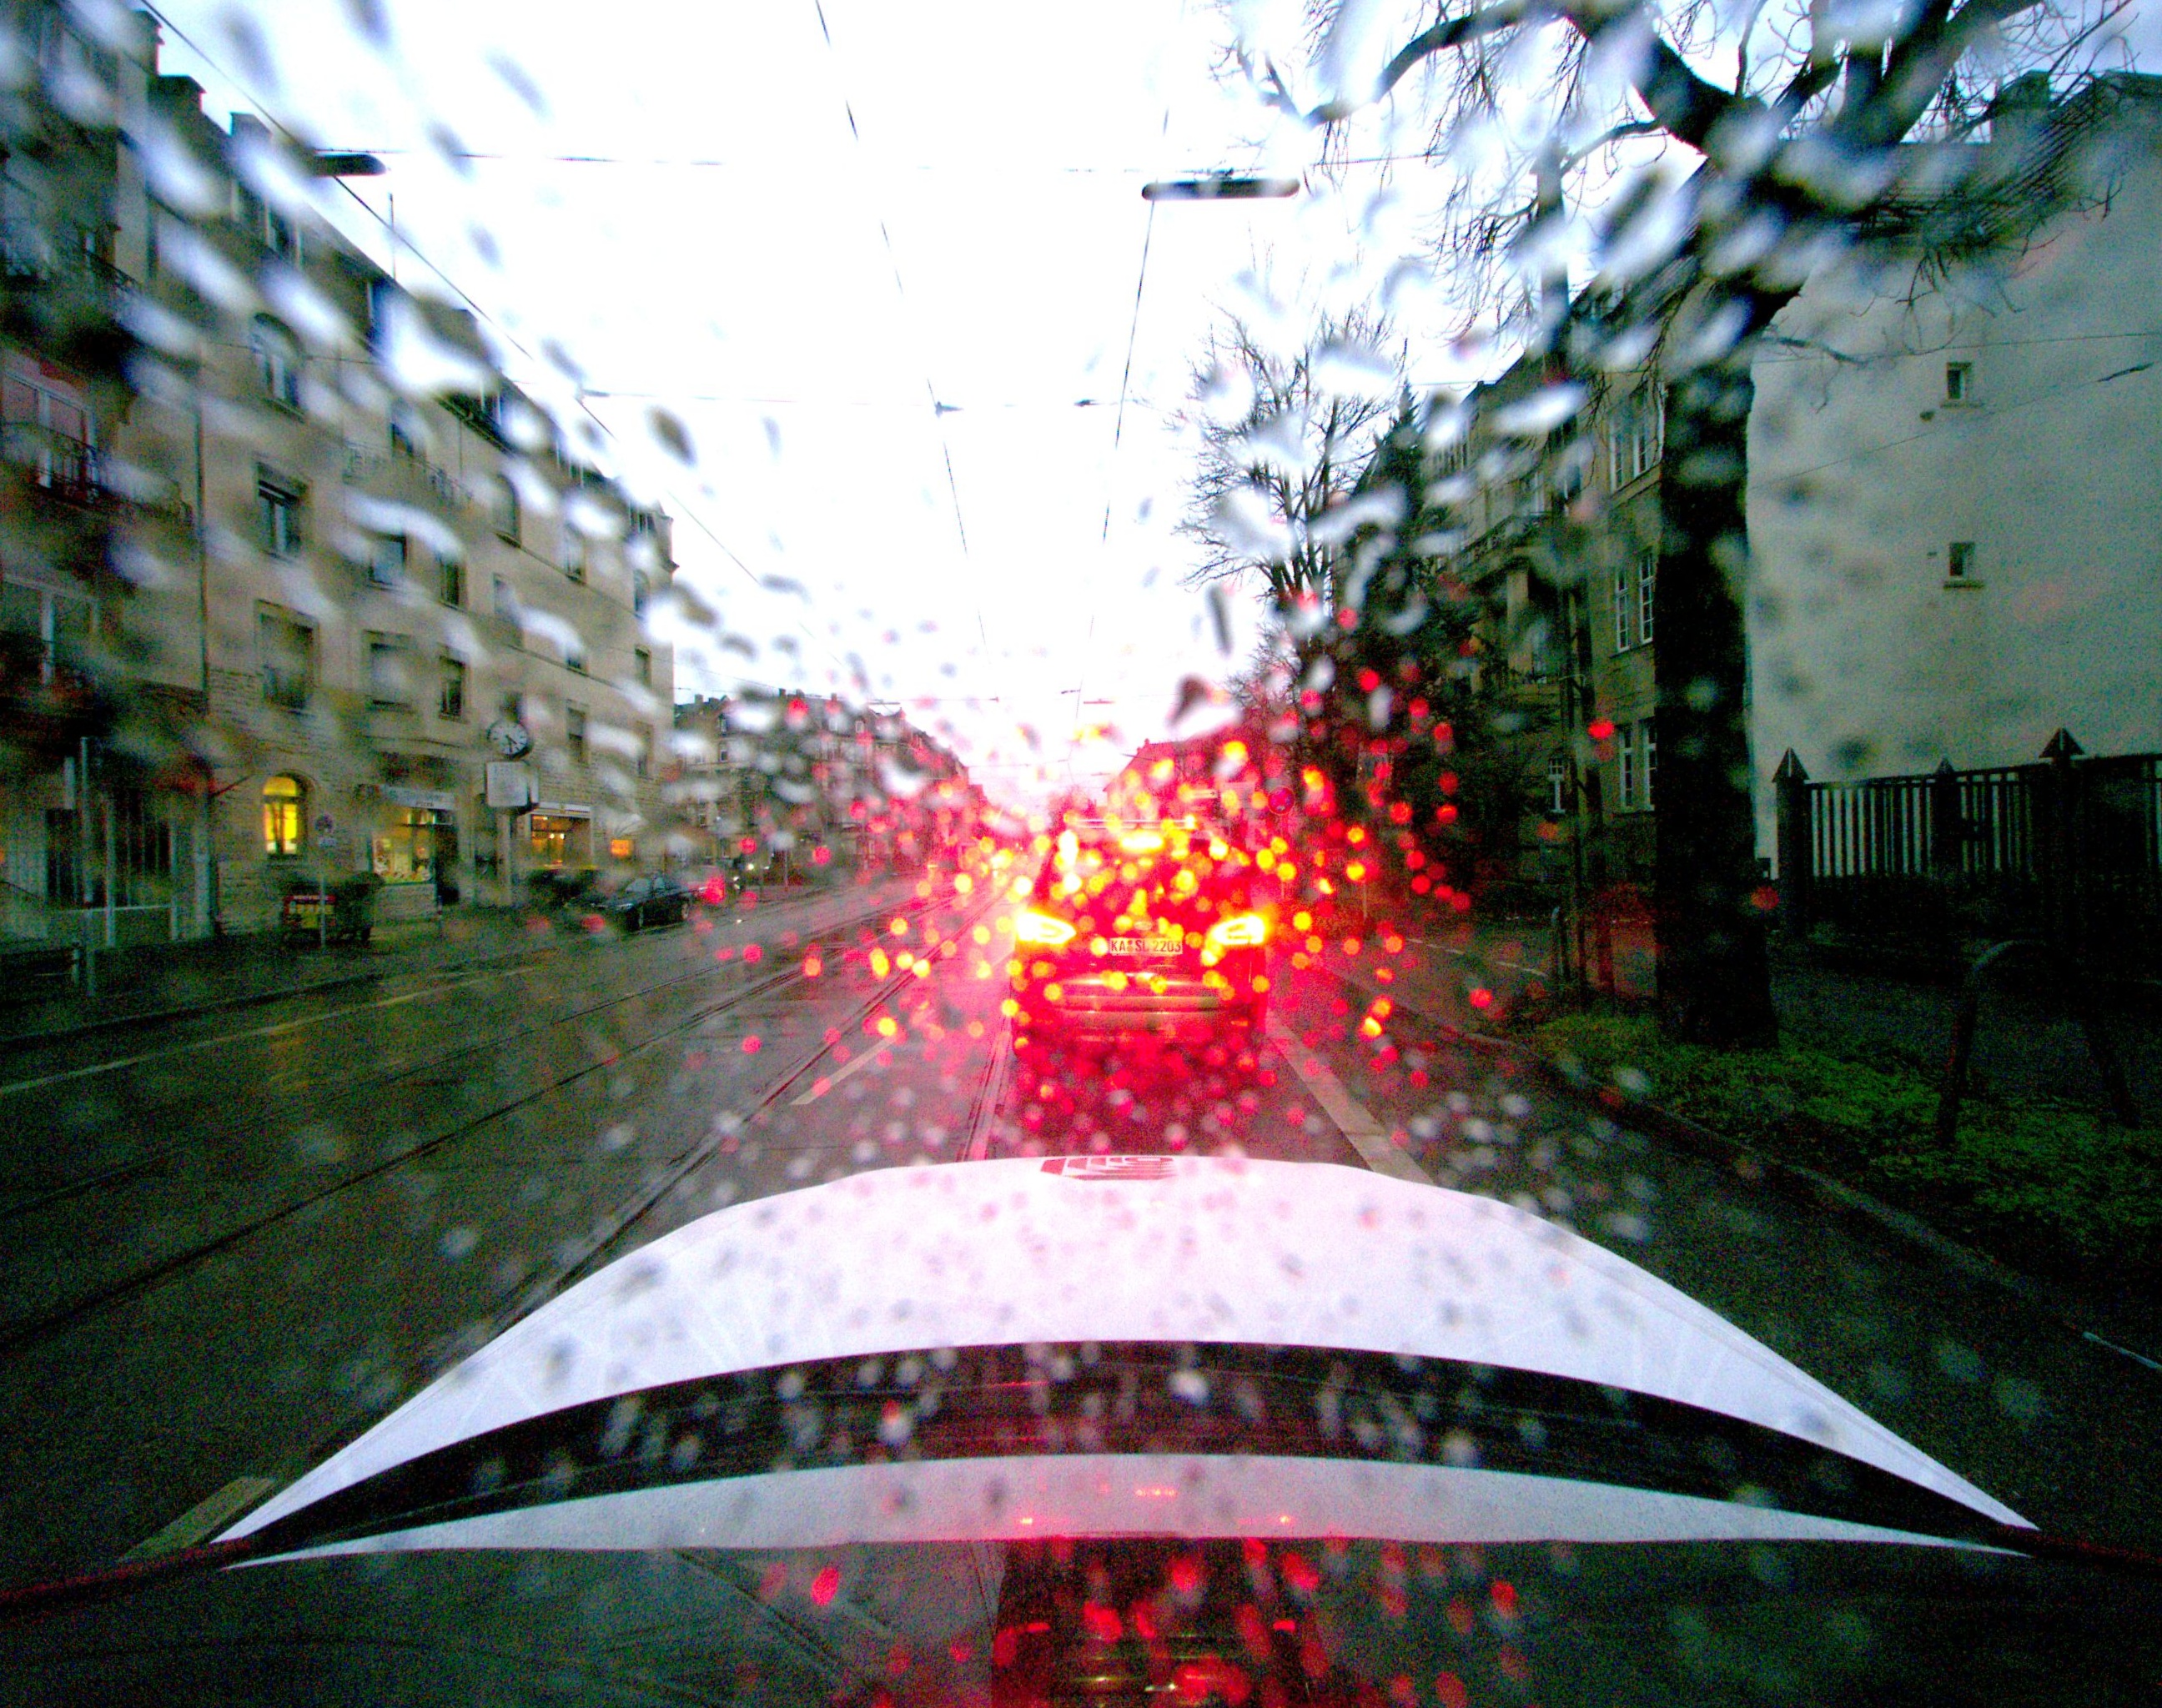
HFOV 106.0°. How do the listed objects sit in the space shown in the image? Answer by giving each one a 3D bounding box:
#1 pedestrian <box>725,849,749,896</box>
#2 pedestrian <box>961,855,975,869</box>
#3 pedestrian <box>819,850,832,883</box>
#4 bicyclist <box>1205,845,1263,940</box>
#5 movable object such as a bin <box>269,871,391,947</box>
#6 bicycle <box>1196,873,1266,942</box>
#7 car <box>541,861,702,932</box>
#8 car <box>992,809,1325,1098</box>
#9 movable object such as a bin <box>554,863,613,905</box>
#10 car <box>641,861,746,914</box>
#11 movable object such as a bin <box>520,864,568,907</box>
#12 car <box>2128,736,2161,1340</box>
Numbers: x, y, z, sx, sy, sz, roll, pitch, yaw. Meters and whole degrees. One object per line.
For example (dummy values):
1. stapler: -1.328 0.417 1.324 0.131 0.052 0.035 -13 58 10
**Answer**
1. pedestrian: -15.115 0.816 35.796 0.748 2.014 0.652 -1 -1 34
2. pedestrian: -9.482 0.659 68.482 1.044 1.200 0.884 -1 -1 -1
3. pedestrian: -15.848 0.750 50.547 0.707 2.013 0.656 -1 0 -21
4. bicyclist: 2.784 0.677 14.904 0.716 1.662 1.054 2 0 -6
5. movable object such as a bin: -15.114 1.073 16.439 1.264 1.420 1.249 -1 0 -2
6. bicycle: 2.750 0.950 15.117 0.716 1.112 1.937 3 0 -6
7. car: -12.468 1.085 22.531 1.982 1.645 4.623 3 -1 -4
8. car: 0.507 0.622 7.472 2.097 1.816 4.660 0 0 0
9. movable object such as a bin: -17.322 1.025 28.403 1.290 1.367 1.251 -1 0 -2
10. car: -13.354 1.111 28.346 2.035 1.551 4.022 2 0 -7
11. movable object such as a bin: -17.848 1.034 27.085 0.896 1.377 1.006 -1 0 -2
12. car: 4.424 0.547 0.138 2.025 1.875 4.960 -2 0 -2
